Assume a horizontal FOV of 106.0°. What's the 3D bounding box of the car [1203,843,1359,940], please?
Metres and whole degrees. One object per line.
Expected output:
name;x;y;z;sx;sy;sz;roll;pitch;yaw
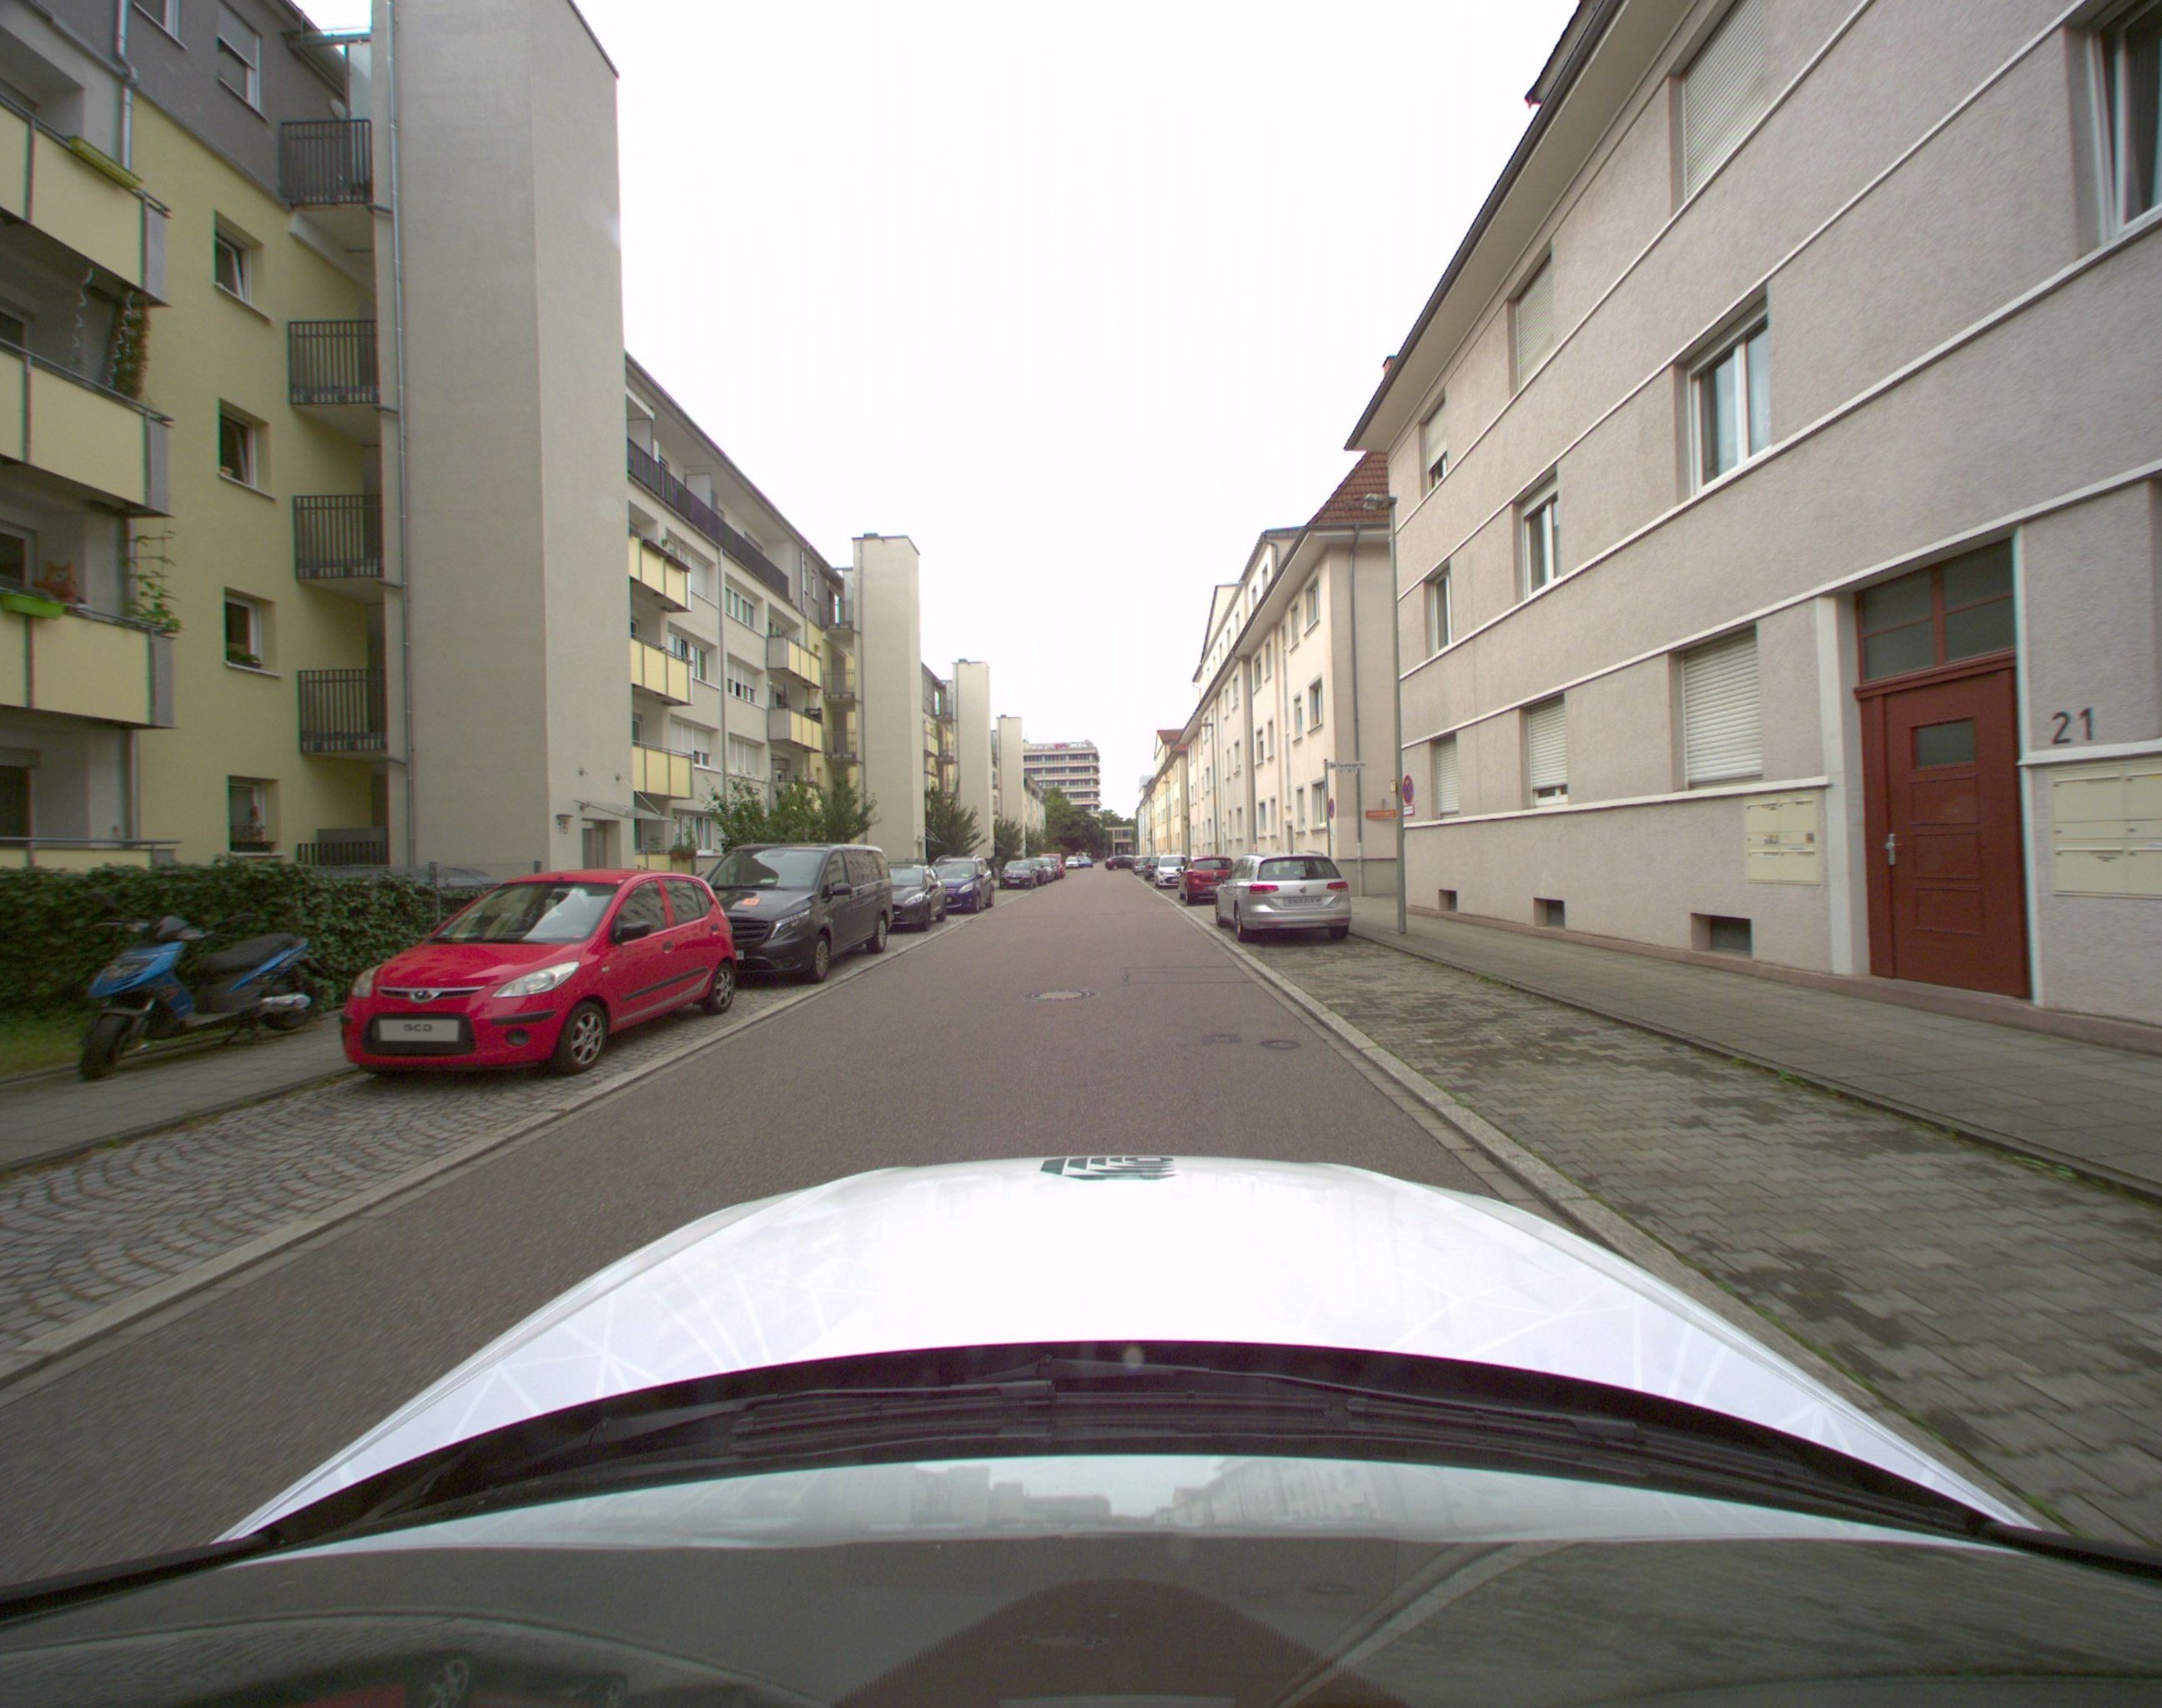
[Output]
car;3.406;0.572;14.765;1.749;1.467;4.601;-1;0;1

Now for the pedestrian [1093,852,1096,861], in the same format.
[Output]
pedestrian;3.169;0.503;187.605;0.627;2.013;0.683;1;0;1

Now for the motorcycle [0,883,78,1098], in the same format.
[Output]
motorcycle;-7.287;0.884;4.493;0.675;1.356;2.230;1;0;2

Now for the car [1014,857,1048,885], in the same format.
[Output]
car;-2.944;1.007;48.478;1.665;1.564;3.666;-1;0;2

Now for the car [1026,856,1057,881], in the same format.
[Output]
car;-2.611;0.935;54.491;1.665;1.526;4.254;-1;0;2

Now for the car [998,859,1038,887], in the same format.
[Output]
car;-3.257;0.988;42.733;1.665;1.352;3.818;-1;0;2

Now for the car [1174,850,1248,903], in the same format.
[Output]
car;3.906;0.628;25.045;1.664;1.420;4.001;-3;0;1

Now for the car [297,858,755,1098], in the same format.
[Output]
car;-4.511;0.856;7.370;1.558;1.569;3.643;1;0;1

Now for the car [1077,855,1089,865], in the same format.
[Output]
car;0.283;0.836;116.221;1.534;1.450;3.740;-1;0;-1

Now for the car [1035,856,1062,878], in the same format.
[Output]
car;-2.366;0.940;59.641;1.665;1.487;3.743;-1;0;2

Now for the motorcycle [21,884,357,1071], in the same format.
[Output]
motorcycle;-7.138;0.907;6.692;0.633;1.230;1.834;3;0;2

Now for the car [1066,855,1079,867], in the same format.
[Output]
car;-1.064;0.855;105.627;1.533;1.450;3.743;-1;0;2

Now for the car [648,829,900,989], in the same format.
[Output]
car;-4.268;0.658;12.357;1.873;1.903;5.030;1;0;0

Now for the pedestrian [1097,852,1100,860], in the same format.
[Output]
pedestrian;3.998;0.490;189.108;0.627;2.013;0.683;1;0;1

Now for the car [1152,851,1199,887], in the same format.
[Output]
car;4.245;0.639;36.951;1.812;1.504;3.754;-1;0;2

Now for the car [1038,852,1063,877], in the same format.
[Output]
car;-2.375;0.790;64.749;1.665;1.938;3.743;-1;0;2

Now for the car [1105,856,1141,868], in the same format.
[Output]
car;4.434;0.846;85.785;3.714;1.214;1.545;-1;0;3

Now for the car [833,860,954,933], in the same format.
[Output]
car;-4.256;0.910;19.151;1.824;1.459;4.259;-1;0;0

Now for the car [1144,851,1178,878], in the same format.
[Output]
car;4.762;0.613;49.054;1.812;1.577;3.754;-1;0;2

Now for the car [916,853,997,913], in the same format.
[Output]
car;-3.701;0.810;24.886;1.763;1.643;4.354;-1;0;0

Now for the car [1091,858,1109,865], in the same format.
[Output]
car;4.120;1.613;178.430;3.972;1.486;2.001;1;0;2

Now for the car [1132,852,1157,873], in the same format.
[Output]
car;5.092;0.663;65.695;1.812;1.577;3.886;-1;0;2
